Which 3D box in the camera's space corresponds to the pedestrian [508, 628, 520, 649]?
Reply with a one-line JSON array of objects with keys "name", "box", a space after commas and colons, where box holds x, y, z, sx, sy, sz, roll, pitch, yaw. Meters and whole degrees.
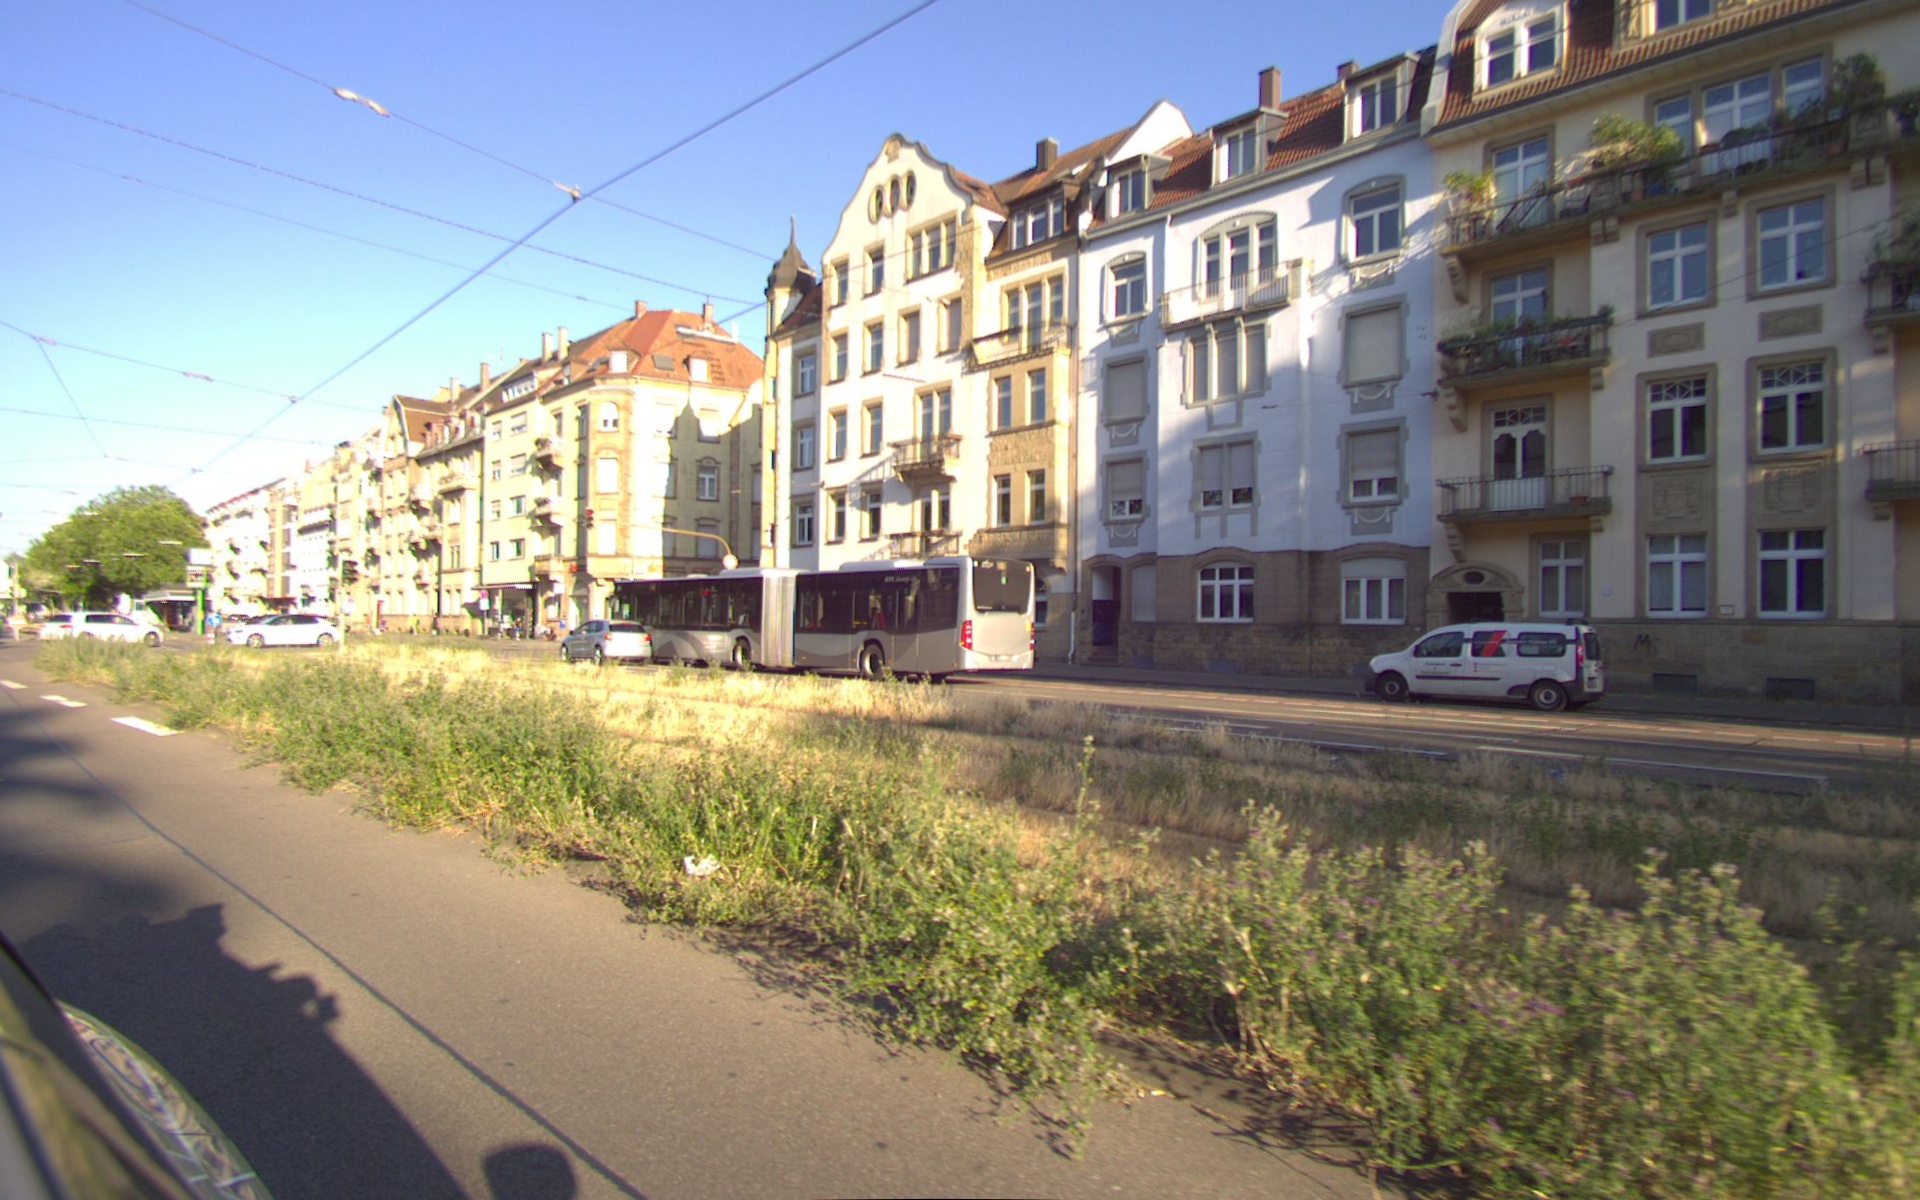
[{"name": "pedestrian", "box": [-29.308, 2.548, 66.460, 0.555, 1.373, 0.546, -1, -2, 44]}]

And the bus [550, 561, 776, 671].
[{"name": "bus", "box": [-10.784, 0.521, 35.872, 9.903, 3.399, 3.228, 0, -2, 44]}]

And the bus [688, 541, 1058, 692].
[{"name": "bus", "box": [-2.967, 0.410, 28.277, 11.981, 3.399, 3.218, 0, -2, 44]}]

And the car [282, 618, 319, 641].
[{"name": "car", "box": [-56.625, 2.505, 86.862, 1.892, 1.914, 4.313, 2, -2, -44]}]

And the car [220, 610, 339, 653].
[{"name": "car", "box": [-29.065, 1.344, 43.281, 1.837, 1.719, 3.941, 0, -2, 45]}]

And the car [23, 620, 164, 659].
[{"name": "car", "box": [-35.168, 1.571, 41.203, 1.825, 1.461, 4.095, 1, -1, 12]}]

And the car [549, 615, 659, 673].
[{"name": "car", "box": [-11.471, 1.353, 32.445, 1.906, 1.697, 4.005, 2, -1, -42]}]

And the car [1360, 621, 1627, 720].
[{"name": "car", "box": [11.164, 1.393, 21.430, 1.882, 1.800, 4.657, 2, -2, -44]}]

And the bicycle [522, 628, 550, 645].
[{"name": "bicycle", "box": [-26.966, 2.293, 64.355, 2.502, 1.064, 0.658, -1, -2, 42]}]

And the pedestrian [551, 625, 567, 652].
[{"name": "pedestrian", "box": [-24.475, 2.355, 61.810, 0.770, 1.653, 0.621, -1, -2, 43]}]
